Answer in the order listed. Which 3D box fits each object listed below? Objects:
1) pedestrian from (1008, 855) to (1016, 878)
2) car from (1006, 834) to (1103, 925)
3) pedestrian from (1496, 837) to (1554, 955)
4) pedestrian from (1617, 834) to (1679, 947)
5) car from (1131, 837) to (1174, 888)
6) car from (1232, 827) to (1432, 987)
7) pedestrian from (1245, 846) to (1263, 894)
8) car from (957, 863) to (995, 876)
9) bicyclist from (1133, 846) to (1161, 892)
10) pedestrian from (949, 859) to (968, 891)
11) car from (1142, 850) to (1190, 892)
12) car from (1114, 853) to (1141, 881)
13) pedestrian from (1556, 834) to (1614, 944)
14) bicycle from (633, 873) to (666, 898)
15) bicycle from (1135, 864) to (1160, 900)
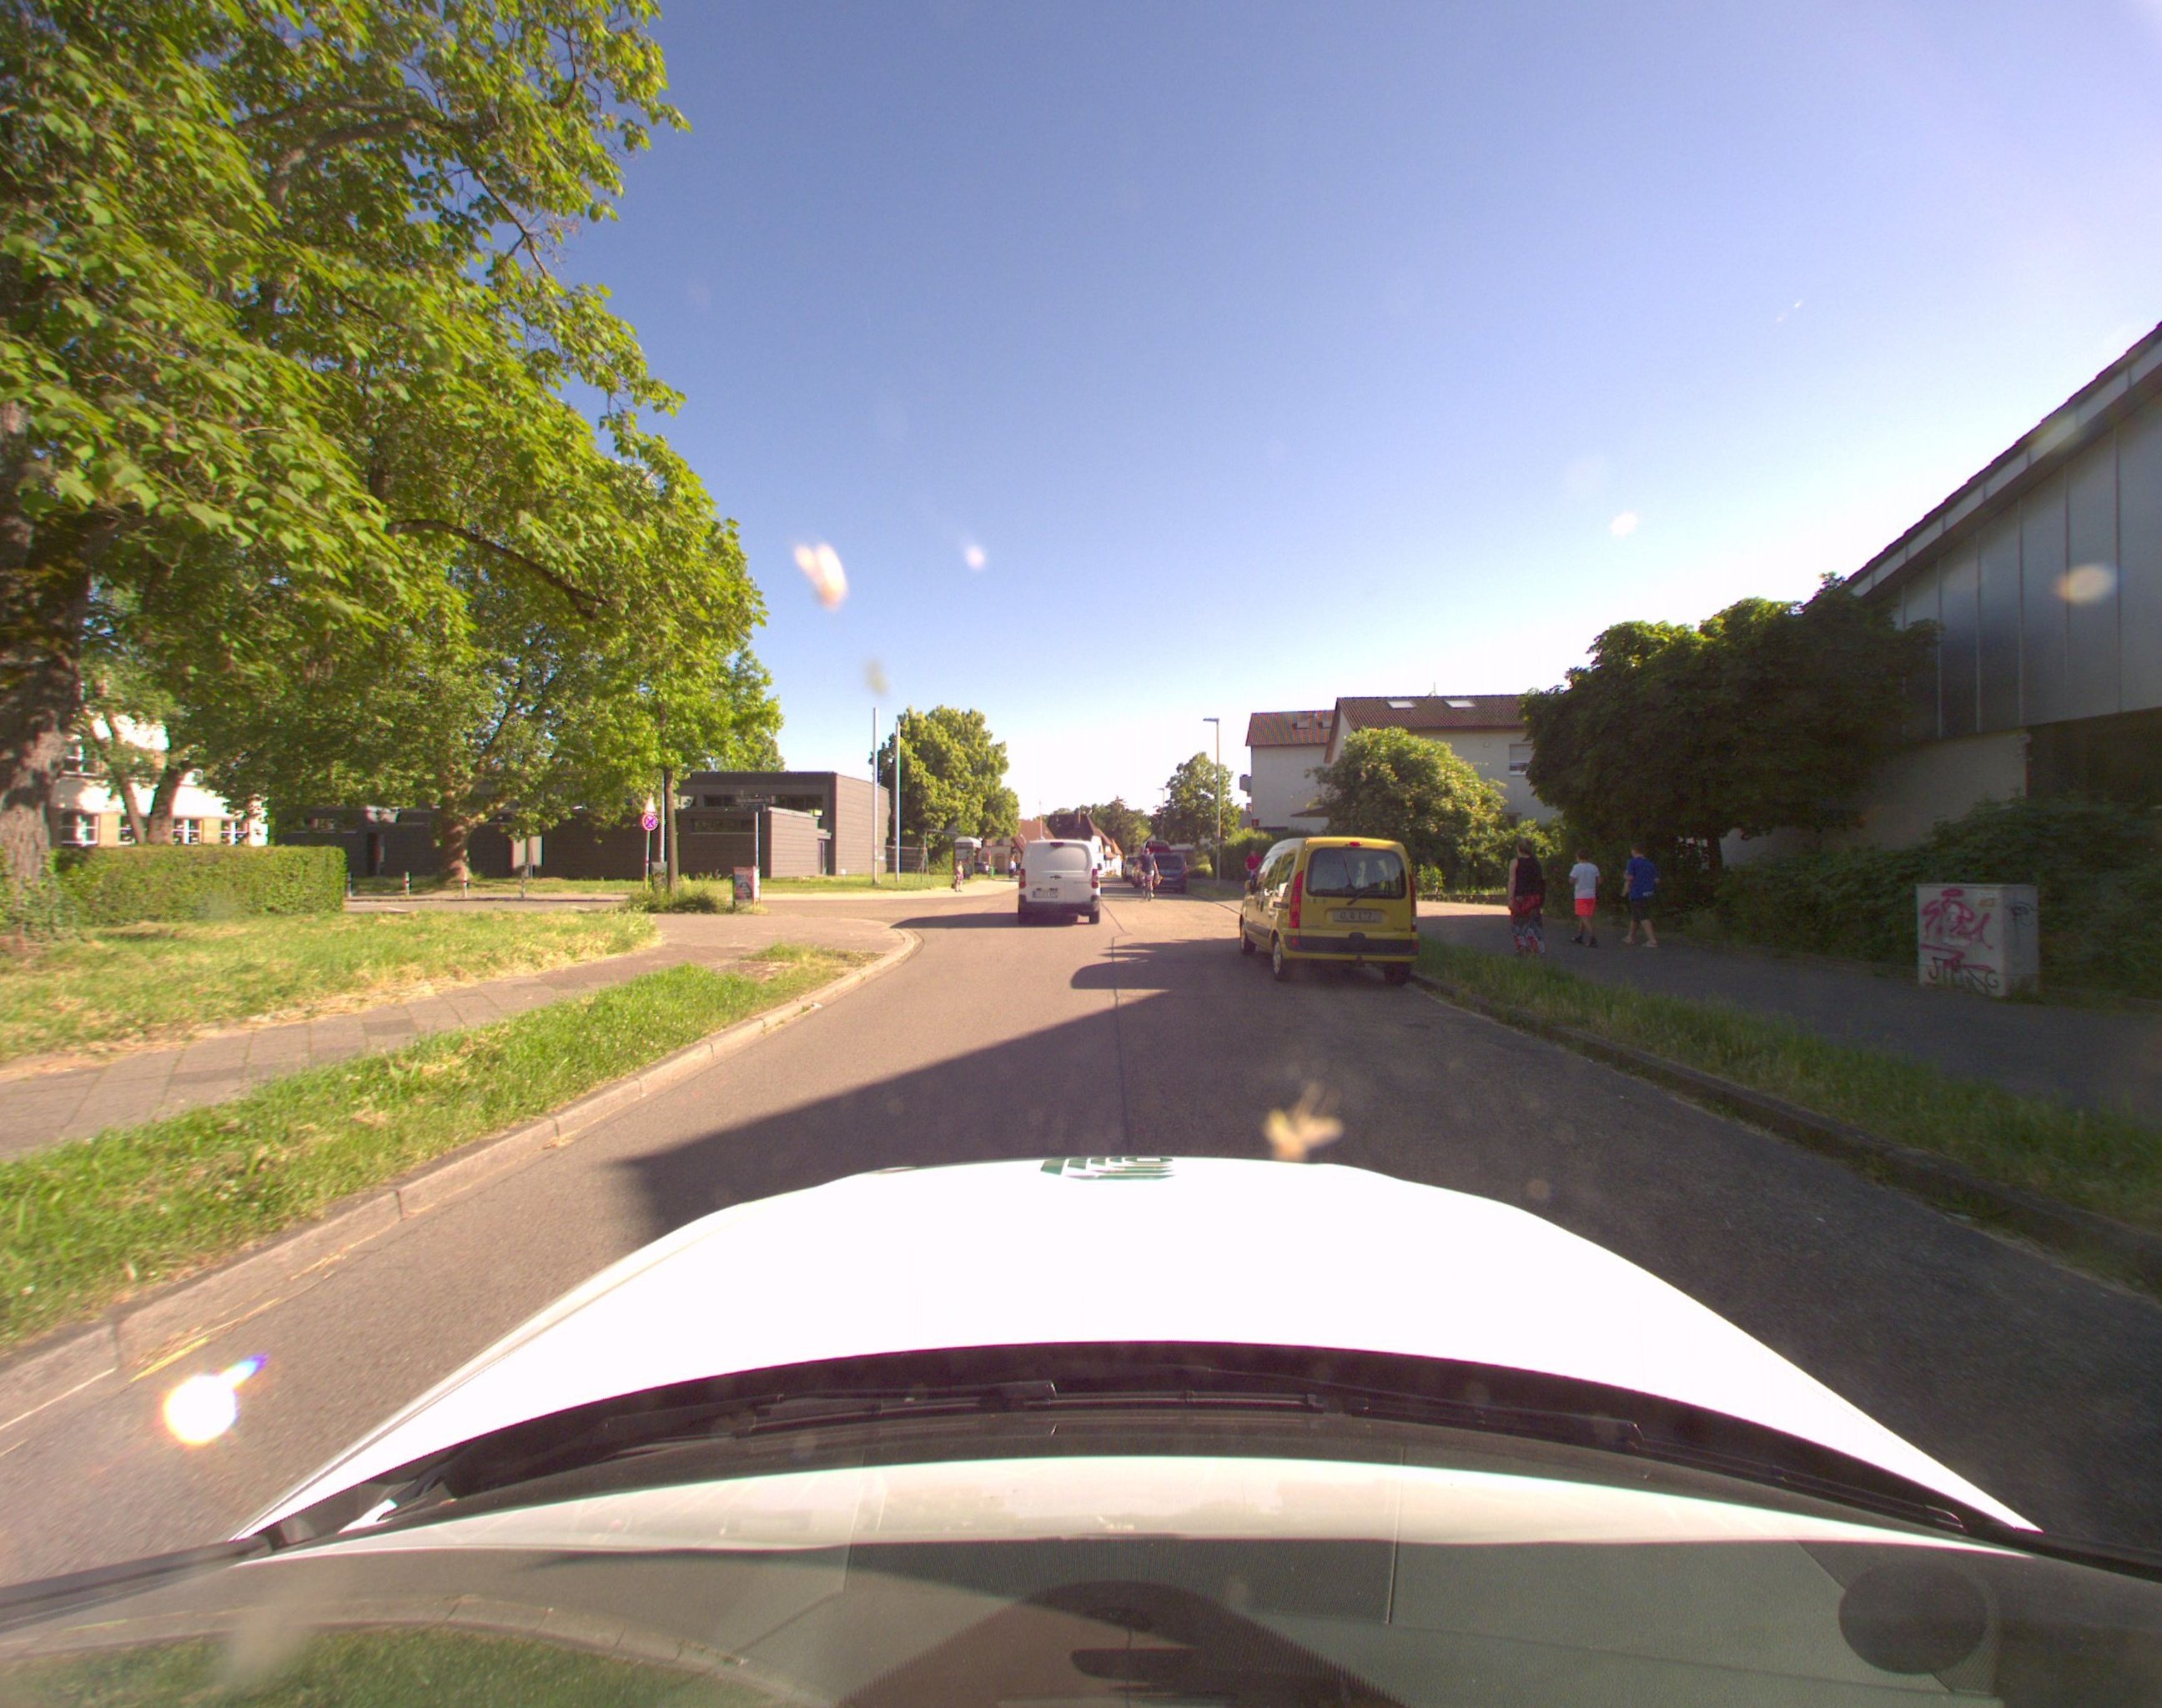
[{"bbox_3d":[-5.592,1.025,65.805,0.619,1.805,0.640,0,-2,0],"label":"pedestrian"},{"bbox_3d":[-0.589,0.536,19.028,1.988,1.882,4.286,1,0,-1],"label":"car"},{"bbox_3d":[6.305,0.575,11.585,0.564,1.637,0.547,0,0,6],"label":"pedestrian"},{"bbox_3d":[8.403,0.523,12.092,0.564,1.637,0.547,0,0,6],"label":"pedestrian"},{"bbox_3d":[3.903,0.492,44.988,1.860,2.562,4.766,2,-1,0],"label":"car"},{"bbox_3d":[3.271,0.622,11.409,1.717,1.837,4.002,0,0,2],"label":"car"},{"bbox_3d":[6.615,0.609,31.213,0.482,1.831,0.486,-3,0,-1],"label":"pedestrian"},{"bbox_3d":[-12.159,1.756,93.974,3.945,1.429,1.724,0,-1,19],"label":"car"},{"bbox_3d":[2.273,0.517,28.109,0.902,1.584,0.967,0,-1,3],"label":"bicyclist"},{"bbox_3d":[-5.725,0.997,38.216,0.505,1.446,0.643,3,0,34],"label":"pedestrian"},{"bbox_3d":[3.909,0.786,38.001,1.798,1.785,3.999,2,-1,0],"label":"car"},{"bbox_3d":[3.629,1.035,64.303,1.798,2.069,3.999,2,-1,0],"label":"car"},{"bbox_3d":[7.642,0.519,12.369,0.564,1.637,0.547,0,0,6],"label":"pedestrian"},{"bbox_3d":[-16.674,1.204,31.480,1.025,0.887,0.434,-2,1,-43],"label":"bicycle"},{"bbox_3d":[2.267,0.944,28.122,0.783,1.138,2.281,1,0,3],"label":"bicycle"}]
